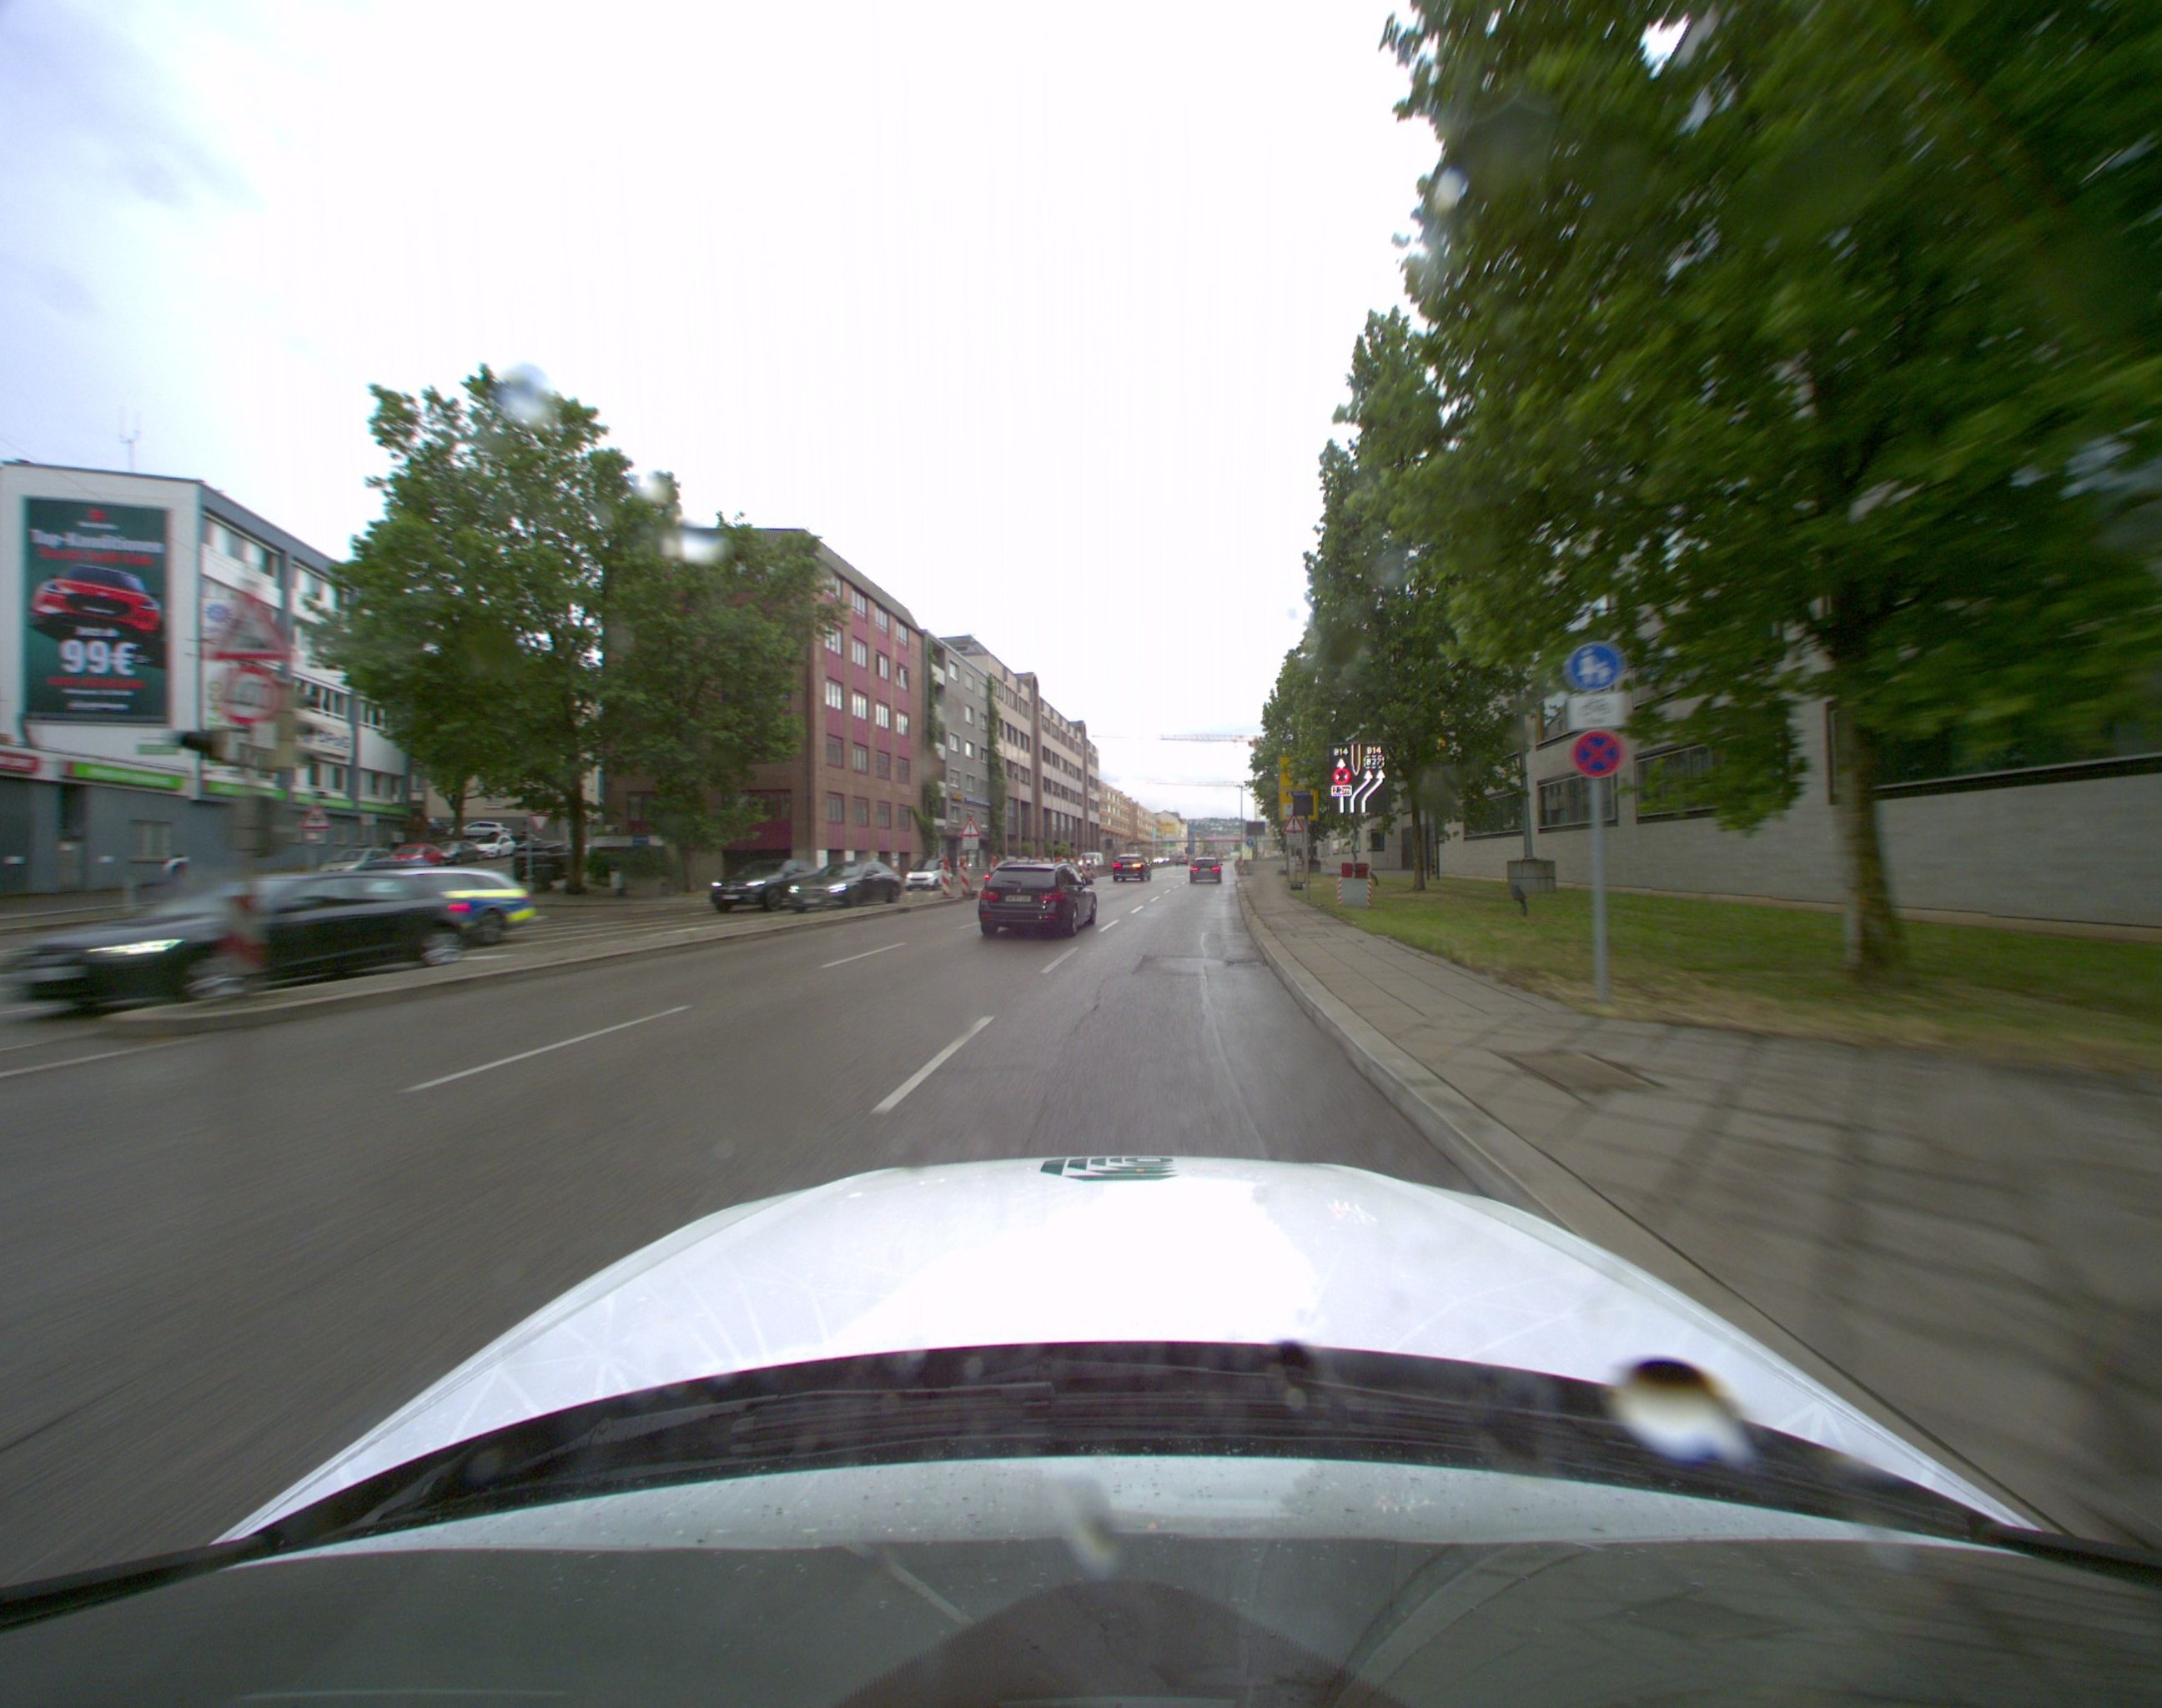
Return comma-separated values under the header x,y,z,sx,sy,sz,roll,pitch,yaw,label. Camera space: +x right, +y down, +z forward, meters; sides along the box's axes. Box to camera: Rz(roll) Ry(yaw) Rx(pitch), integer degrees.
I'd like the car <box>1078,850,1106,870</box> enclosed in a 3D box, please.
x,y,z,sx,sy,sz,roll,pitch,yaw,label
1.209,0.664,84.993,1.981,1.990,5.304,-2,-1,10,car

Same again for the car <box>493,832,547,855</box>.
x,y,z,sx,sy,sz,roll,pitch,yaw,label
-40.570,-0.761,59.005,1.835,1.430,4.053,-2,4,-13,car

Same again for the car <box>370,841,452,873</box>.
x,y,z,sx,sy,sz,roll,pitch,yaw,label
-37.110,0.136,45.253,1.835,1.430,4.053,-2,4,-13,car

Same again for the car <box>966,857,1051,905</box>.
x,y,z,sx,sy,sz,roll,pitch,yaw,label
-2.294,0.854,27.081,1.780,1.426,4.395,-2,-1,8,car

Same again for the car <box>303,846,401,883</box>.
x,y,z,sx,sy,sz,roll,pitch,yaw,label
-35.723,0.456,40.039,1.836,1.462,4.157,-2,4,-15,car

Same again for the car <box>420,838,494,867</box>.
x,y,z,sx,sy,sz,roll,pitch,yaw,label
-38.037,-0.118,49.773,1.833,1.430,4.056,-1,4,-11,car

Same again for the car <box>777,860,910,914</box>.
x,y,z,sx,sy,sz,roll,pitch,yaw,label
-7.241,0.942,25.459,1.982,1.438,4.950,-2,0,9,car

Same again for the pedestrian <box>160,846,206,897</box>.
x,y,z,sx,sy,sz,roll,pitch,yaw,label
-35.937,0.701,32.613,0.841,2.014,0.976,-1,-1,-16,pedestrian

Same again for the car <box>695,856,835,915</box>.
x,y,z,sx,sy,sz,roll,pitch,yaw,label
-10.103,0.934,26.545,1.982,1.677,4.950,-2,0,9,car

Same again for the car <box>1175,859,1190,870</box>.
x,y,z,sx,sy,sz,roll,pitch,yaw,label
15.570,1.626,124.673,1.886,1.693,4.014,-2,-1,13,car

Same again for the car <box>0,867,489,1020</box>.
x,y,z,sx,sy,sz,roll,pitch,yaw,label
-9.759,0.906,9.866,1.755,1.417,4.094,-2,-1,10,car

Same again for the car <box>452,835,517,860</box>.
x,y,z,sx,sy,sz,roll,pitch,yaw,label
-39.582,-0.456,54.158,1.833,1.430,4.056,-1,4,-11,car

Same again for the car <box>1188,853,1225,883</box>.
x,y,z,sx,sy,sz,roll,pitch,yaw,label
7.327,0.791,47.340,1.887,1.693,4.013,0,0,12,car

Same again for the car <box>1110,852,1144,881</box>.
x,y,z,sx,sy,sz,roll,pitch,yaw,label
2.781,0.764,49.981,1.893,1.693,4.001,-2,-1,1,car

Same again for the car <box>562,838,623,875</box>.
x,y,z,sx,sy,sz,roll,pitch,yaw,label
-28.181,0.117,47.108,1.934,1.867,3.980,-1,3,-15,car

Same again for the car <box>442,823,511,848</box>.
x,y,z,sx,sy,sz,roll,pitch,yaw,label
-52.336,-1.631,70.608,4.433,2.006,1.986,-1,-1,-21,car

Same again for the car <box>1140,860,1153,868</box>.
x,y,z,sx,sy,sz,roll,pitch,yaw,label
11.744,1.790,146.140,1.849,1.533,4.241,-2,-1,9,car

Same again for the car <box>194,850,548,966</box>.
x,y,z,sx,sy,sz,roll,pitch,yaw,label
-12.063,0.832,14.369,1.755,1.682,4.603,-2,-1,10,car

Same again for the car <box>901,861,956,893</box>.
x,y,z,sx,sy,sz,roll,pitch,yaw,label
-7.410,1.107,39.711,1.545,1.484,2.959,-2,-1,12,car

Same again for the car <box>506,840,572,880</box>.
x,y,z,sx,sy,sz,roll,pitch,yaw,label
-27.346,0.251,41.206,1.938,1.868,3.972,1,1,-21,car

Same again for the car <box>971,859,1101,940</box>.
x,y,z,sx,sy,sz,roll,pitch,yaw,label
-0.755,0.829,16.907,1.781,1.426,4.624,0,0,9,car

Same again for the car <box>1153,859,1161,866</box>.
x,y,z,sx,sy,sz,roll,pitch,yaw,label
18.186,2.086,195.270,1.592,1.442,3.668,-2,1,11,car

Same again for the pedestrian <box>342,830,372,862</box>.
x,y,z,sx,sy,sz,roll,pitch,yaw,label
-39.886,-0.460,44.871,0.841,1.717,0.976,-1,-1,-16,pedestrian
